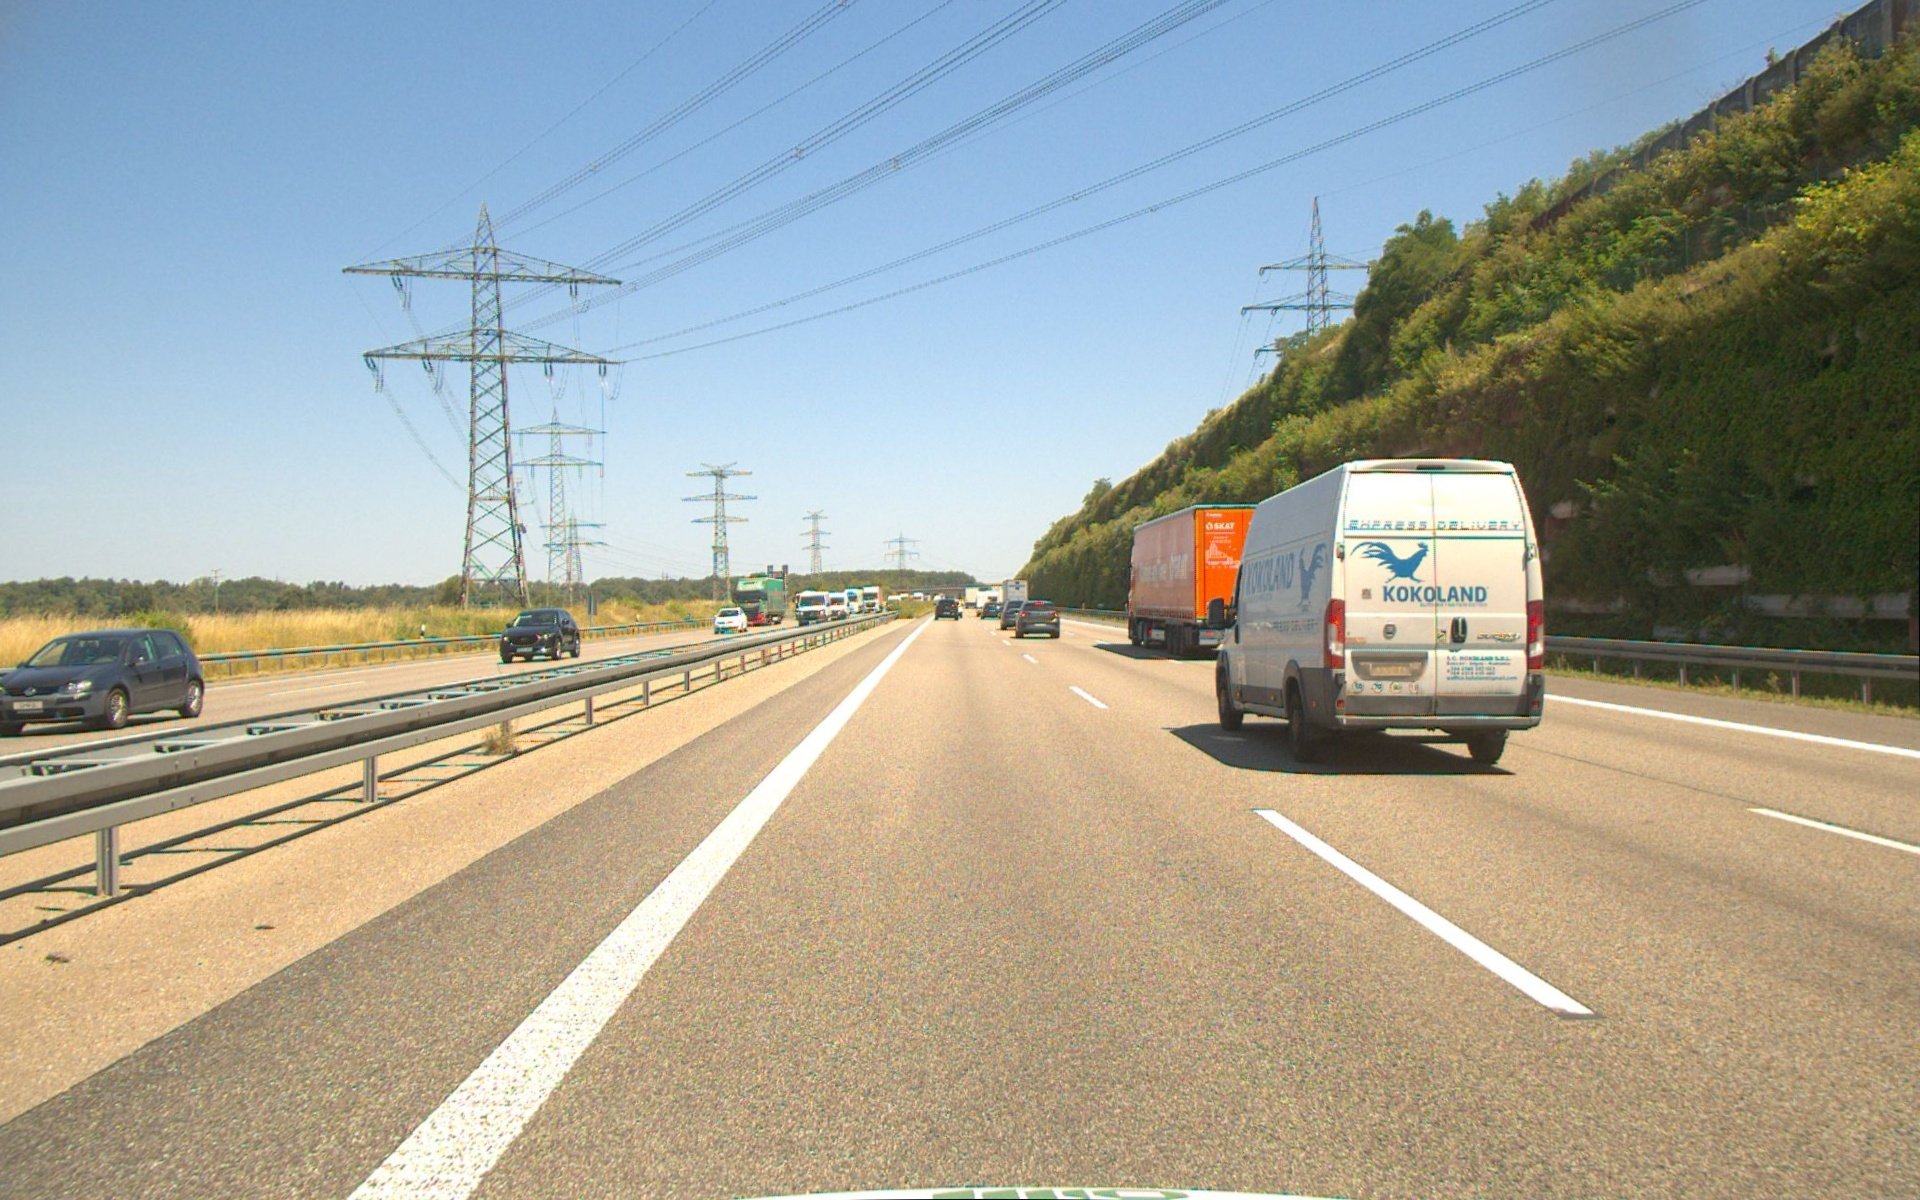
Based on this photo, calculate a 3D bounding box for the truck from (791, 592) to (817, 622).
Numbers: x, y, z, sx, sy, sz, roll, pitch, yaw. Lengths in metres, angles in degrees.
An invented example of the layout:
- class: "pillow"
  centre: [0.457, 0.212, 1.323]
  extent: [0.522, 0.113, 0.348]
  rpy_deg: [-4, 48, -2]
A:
- class: "truck"
  centre: [-18.600, 0.785, 196.996]
  extent: [2.432, 3.437, 6.211]
  rpy_deg: [-2, 0, 0]

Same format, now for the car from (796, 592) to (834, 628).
- class: "car"
  centre: [-9.853, 0.644, 112.834]
  extent: [2.066, 2.338, 6.705]
  rpy_deg: [-1, 0, -1]

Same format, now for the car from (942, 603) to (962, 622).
- class: "car"
  centre: [-0.722, 1.157, 154.921]
  extent: [1.792, 1.700, 3.999]
  rpy_deg: [-1, 0, 0]

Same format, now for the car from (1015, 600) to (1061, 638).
- class: "car"
  centre: [3.274, 0.813, 70.404]
  extent: [1.713, 1.552, 3.994]
  rpy_deg: [-1, 0, -1]

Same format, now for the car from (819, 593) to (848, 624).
- class: "car"
  centre: [-10.621, 0.698, 139.138]
  extent: [2.006, 2.481, 6.068]
  rpy_deg: [-2, 0, -1]

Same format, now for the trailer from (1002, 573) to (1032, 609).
- class: "trailer"
  centre: [6.955, -1.028, 202.996]
  extent: [3.118, 4.193, 13.430]
  rpy_deg: [-1, 0, 0]

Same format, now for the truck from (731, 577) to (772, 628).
- class: "truck"
  centre: [-18.013, 0.209, 143.140]
  extent: [2.644, 4.207, 6.579]
  rpy_deg: [-1, 0, -1]

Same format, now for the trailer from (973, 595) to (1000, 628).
- class: "trailer"
  centre: [2.718, 1.165, 171.237]
  extent: [2.557, 3.269, 9.951]
  rpy_deg: [-1, 0, 0]

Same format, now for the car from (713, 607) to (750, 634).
- class: "car"
  centre: [-14.321, 1.289, 103.902]
  extent: [1.673, 1.550, 4.513]
  rpy_deg: [-3, 0, -1]

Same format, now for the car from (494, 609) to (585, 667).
- class: "car"
  centre: [-13.716, 1.204, 54.155]
  extent: [1.803, 1.658, 4.413]
  rpy_deg: [-4, 0, -1]

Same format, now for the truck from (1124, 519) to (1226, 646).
- class: "truck"
  centre: [7.236, -0.550, 56.479]
  extent: [2.564, 4.062, 6.525]
  rpy_deg: [0, 0, 0]

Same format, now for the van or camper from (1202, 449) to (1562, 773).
- class: "van or camper"
  centre: [4.181, 0.097, 17.828]
  extent: [2.054, 2.817, 6.755]
  rpy_deg: [0, 0, -1]

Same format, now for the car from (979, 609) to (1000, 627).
- class: "car"
  centre: [2.570, 1.606, 146.440]
  extent: [1.792, 1.552, 4.000]
  rpy_deg: [-1, 0, 1]

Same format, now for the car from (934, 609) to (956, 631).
- class: "car"
  centre: [-1.241, 1.622, 136.223]
  extent: [1.792, 1.700, 3.999]
  rpy_deg: [-1, 0, 0]

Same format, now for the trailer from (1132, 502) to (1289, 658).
- class: "trailer"
  centre: [7.227, -0.510, 49.832]
  extent: [2.591, 4.075, 13.604]
  rpy_deg: [0, 0, 0]

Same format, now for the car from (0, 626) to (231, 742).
- class: "car"
  centre: [-13.118, 1.237, 25.872]
  extent: [1.585, 1.485, 4.282]
  rpy_deg: [-4, 0, -2]

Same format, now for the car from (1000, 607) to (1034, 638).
- class: "car"
  centre: [3.113, 1.222, 91.073]
  extent: [1.757, 1.682, 4.137]
  rpy_deg: [0, 0, 0]
